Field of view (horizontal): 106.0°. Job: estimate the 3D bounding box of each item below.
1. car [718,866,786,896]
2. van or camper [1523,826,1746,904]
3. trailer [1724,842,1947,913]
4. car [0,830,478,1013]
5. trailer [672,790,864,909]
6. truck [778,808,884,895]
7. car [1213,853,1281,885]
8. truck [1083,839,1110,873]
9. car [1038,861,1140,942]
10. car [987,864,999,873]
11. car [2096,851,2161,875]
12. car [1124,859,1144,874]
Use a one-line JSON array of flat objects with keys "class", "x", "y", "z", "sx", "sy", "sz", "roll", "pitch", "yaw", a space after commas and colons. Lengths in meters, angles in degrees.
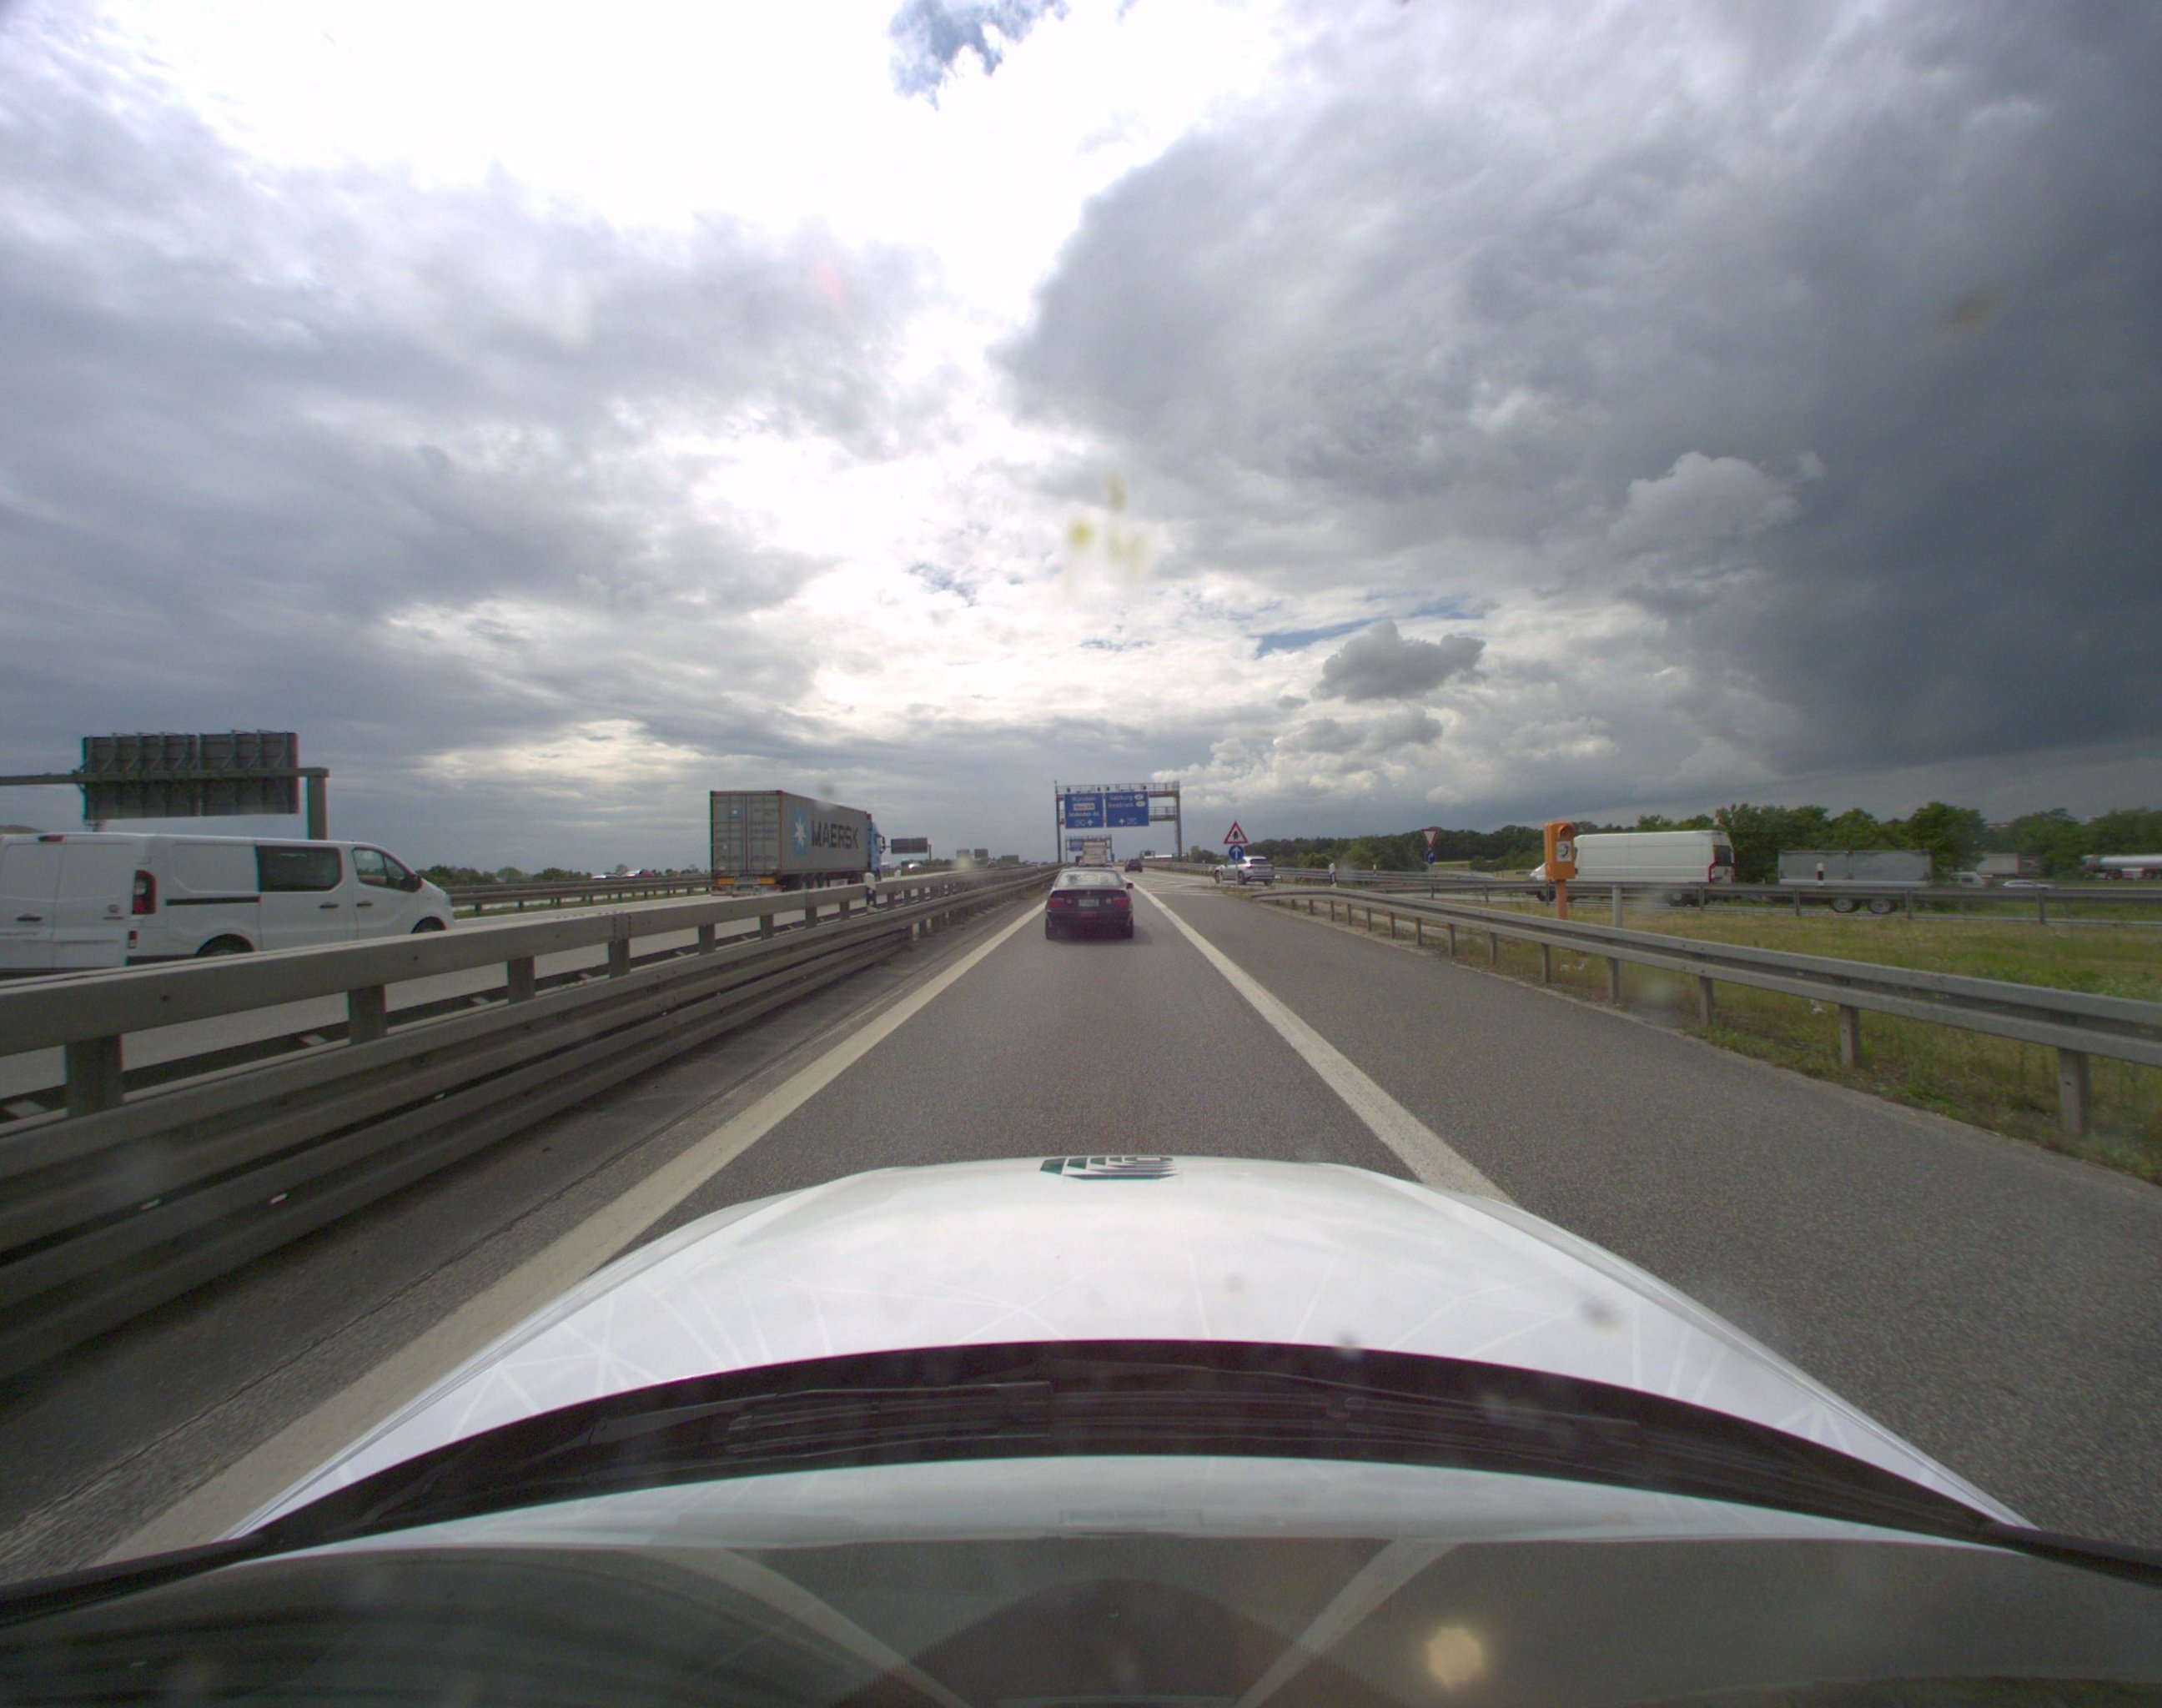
[{"class": "car", "x": -16.035, "y": 1.287, "z": 39.920, "sx": 1.748, "sy": 1.369, "sz": 4.201, "roll": -1, "pitch": -1, "yaw": -3}, {"class": "van or camper", "x": 18.638, "y": 0.366, "z": 27.773, "sx": 2.241, "sy": 2.361, "sz": 5.873, "roll": 0, "pitch": -1, "yaw": -37}, {"class": "trailer", "x": 21.788, "y": 0.647, "z": 23.683, "sx": 2.009, "sy": 1.841, "sz": 4.457, "roll": 0, "pitch": -1, "yaw": -37}, {"class": "car", "x": -11.271, "y": 0.751, "z": 11.327, "sx": 1.994, "sy": 1.938, "sz": 5.129, "roll": -1, "pitch": -1, "yaw": -1}, {"class": "trailer", "x": -11.991, "y": -0.115, "z": 33.102, "sx": 3.227, "sy": 3.924, "sz": 12.373, "roll": 0, "pitch": -1, "yaw": -1}, {"class": "truck", "x": -12.098, "y": -0.093, "z": 40.079, "sx": 3.237, "sy": 3.911, "sz": 6.607, "roll": -1, "pitch": 0, "yaw": -1}, {"class": "car", "x": 9.419, "y": 0.861, "z": 46.606, "sx": 1.942, "sy": 1.685, "sz": 4.182, "roll": -1, "pitch": -1, "yaw": -19}, {"class": "truck", "x": 1.453, "y": 0.230, "z": 77.982, "sx": 2.396, "sy": 3.090, "sz": 6.370, "roll": -1, "pitch": 0, "yaw": 1}, {"class": "car", "x": 0.235, "y": 0.860, "z": 16.470, "sx": 1.775, "sy": 1.378, "sz": 4.139, "roll": -1, "pitch": 0, "yaw": 2}, {"class": "car", "x": -16.961, "y": 2.795, "z": 156.985, "sx": 1.888, "sy": 1.597, "sz": 4.414, "roll": -1, "pitch": 0, "yaw": -2}, {"class": "car", "x": 143.392, "y": 1.205, "z": 108.723, "sx": 3.417, "sy": 3.079, "sz": 11.807, "roll": 0, "pitch": 0, "yaw": 14}, {"class": "car", "x": 5.720, "y": 1.313, "z": 88.023, "sx": 1.986, "sy": 1.552, "sz": 4.000, "roll": 0, "pitch": -1, "yaw": 1}]
